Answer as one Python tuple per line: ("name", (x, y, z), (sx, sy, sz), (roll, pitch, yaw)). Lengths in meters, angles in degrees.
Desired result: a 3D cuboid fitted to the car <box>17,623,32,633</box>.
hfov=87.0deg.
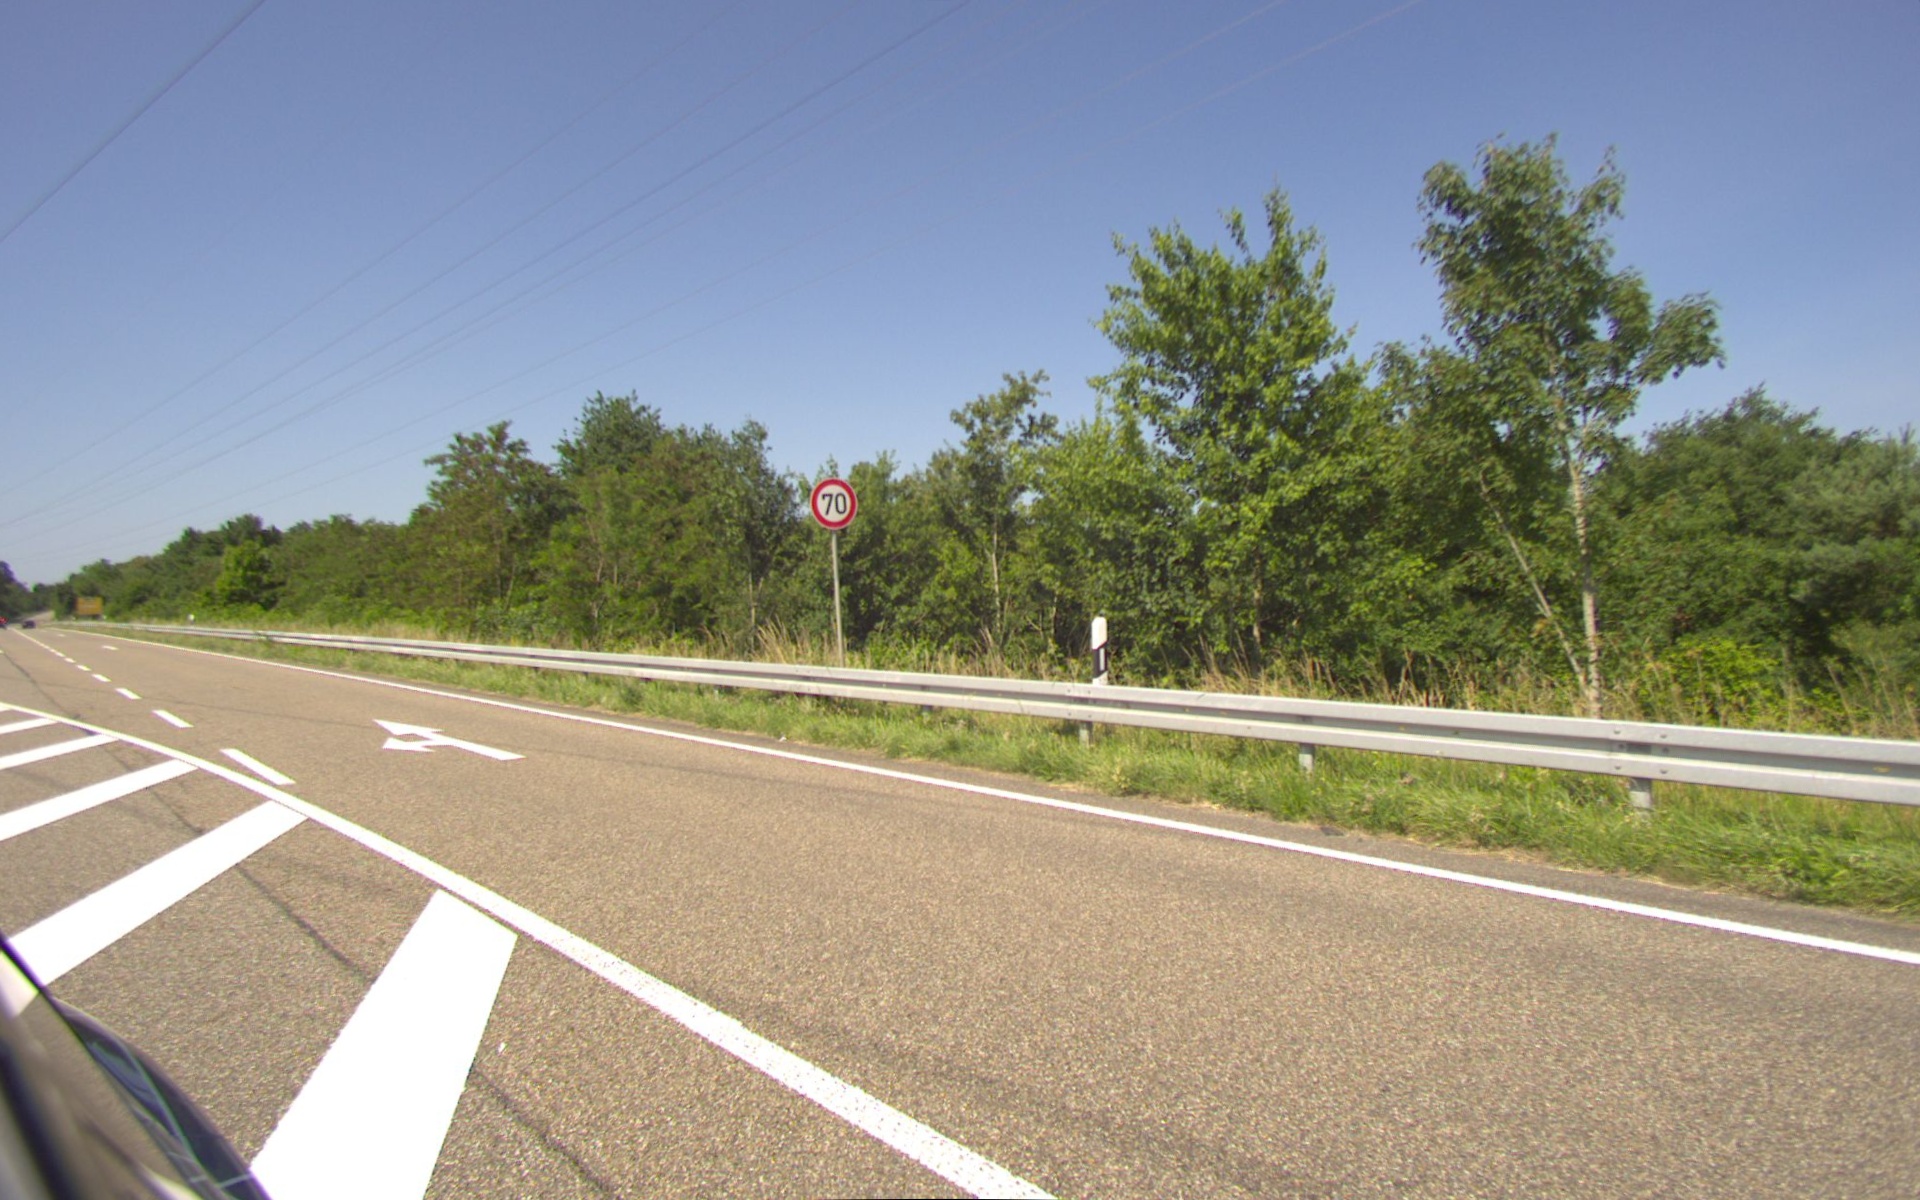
("car", (-156.494, 4.671, 169.338), (1.807, 1.595, 4.004), (2, -2, -43))
